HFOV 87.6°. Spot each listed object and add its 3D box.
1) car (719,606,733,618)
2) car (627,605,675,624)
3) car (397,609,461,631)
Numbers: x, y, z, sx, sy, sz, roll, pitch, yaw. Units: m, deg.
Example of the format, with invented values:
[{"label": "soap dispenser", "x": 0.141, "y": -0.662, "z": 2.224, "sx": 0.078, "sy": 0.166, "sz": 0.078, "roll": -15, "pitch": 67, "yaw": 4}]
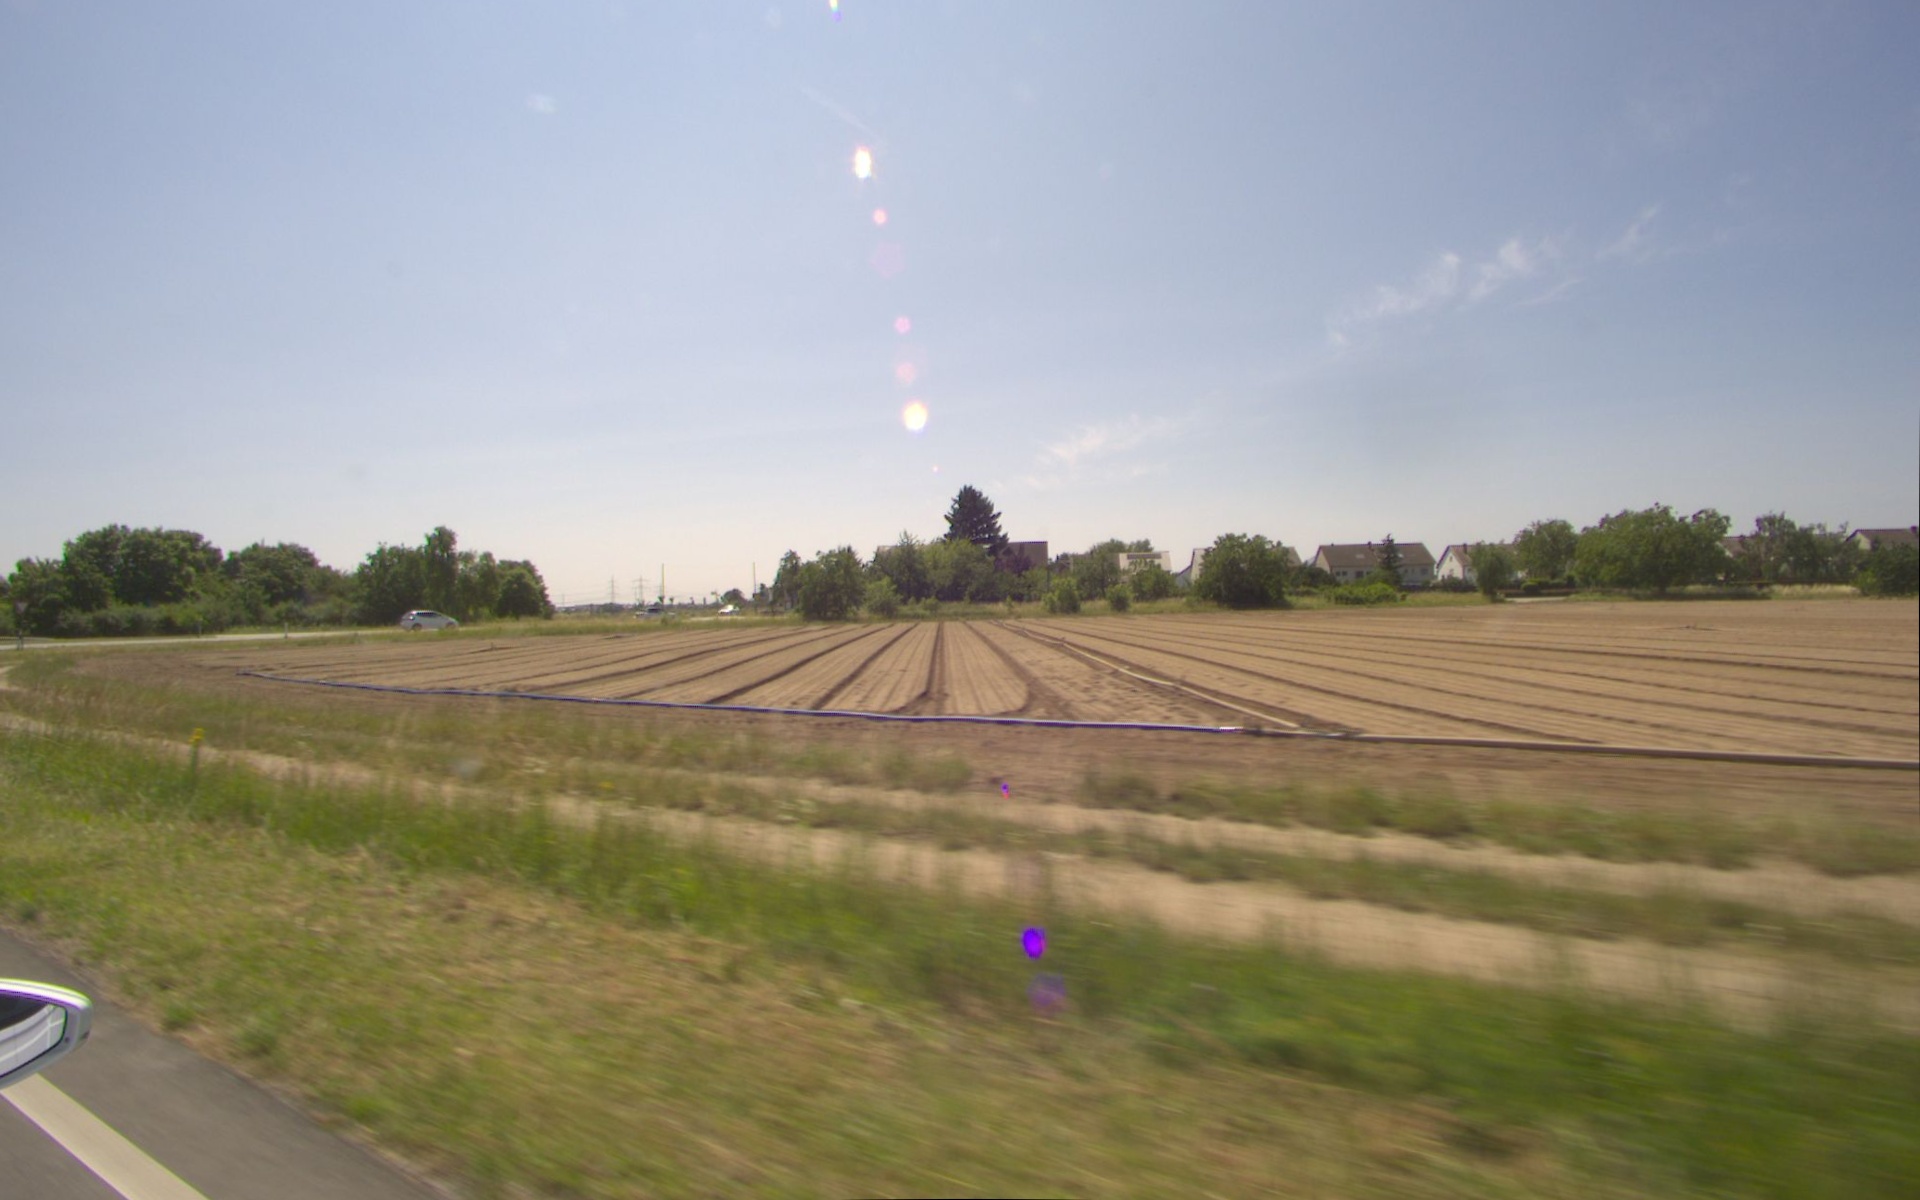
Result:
[{"label": "car", "x": -34.194, "y": 1.757, "z": 146.425, "sx": 1.613, "sy": 1.645, "sz": 4.765, "roll": -1, "pitch": 0, "yaw": -7}, {"label": "car", "x": -28.618, "y": 1.341, "z": 92.768, "sx": 3.952, "sy": 1.645, "sz": 1.632, "roll": -1, "pitch": 0, "yaw": -38}, {"label": "car", "x": -42.317, "y": 1.543, "z": 79.865, "sx": 2.048, "sy": 1.645, "sz": 4.106, "roll": -1, "pitch": 0, "yaw": 42}]
